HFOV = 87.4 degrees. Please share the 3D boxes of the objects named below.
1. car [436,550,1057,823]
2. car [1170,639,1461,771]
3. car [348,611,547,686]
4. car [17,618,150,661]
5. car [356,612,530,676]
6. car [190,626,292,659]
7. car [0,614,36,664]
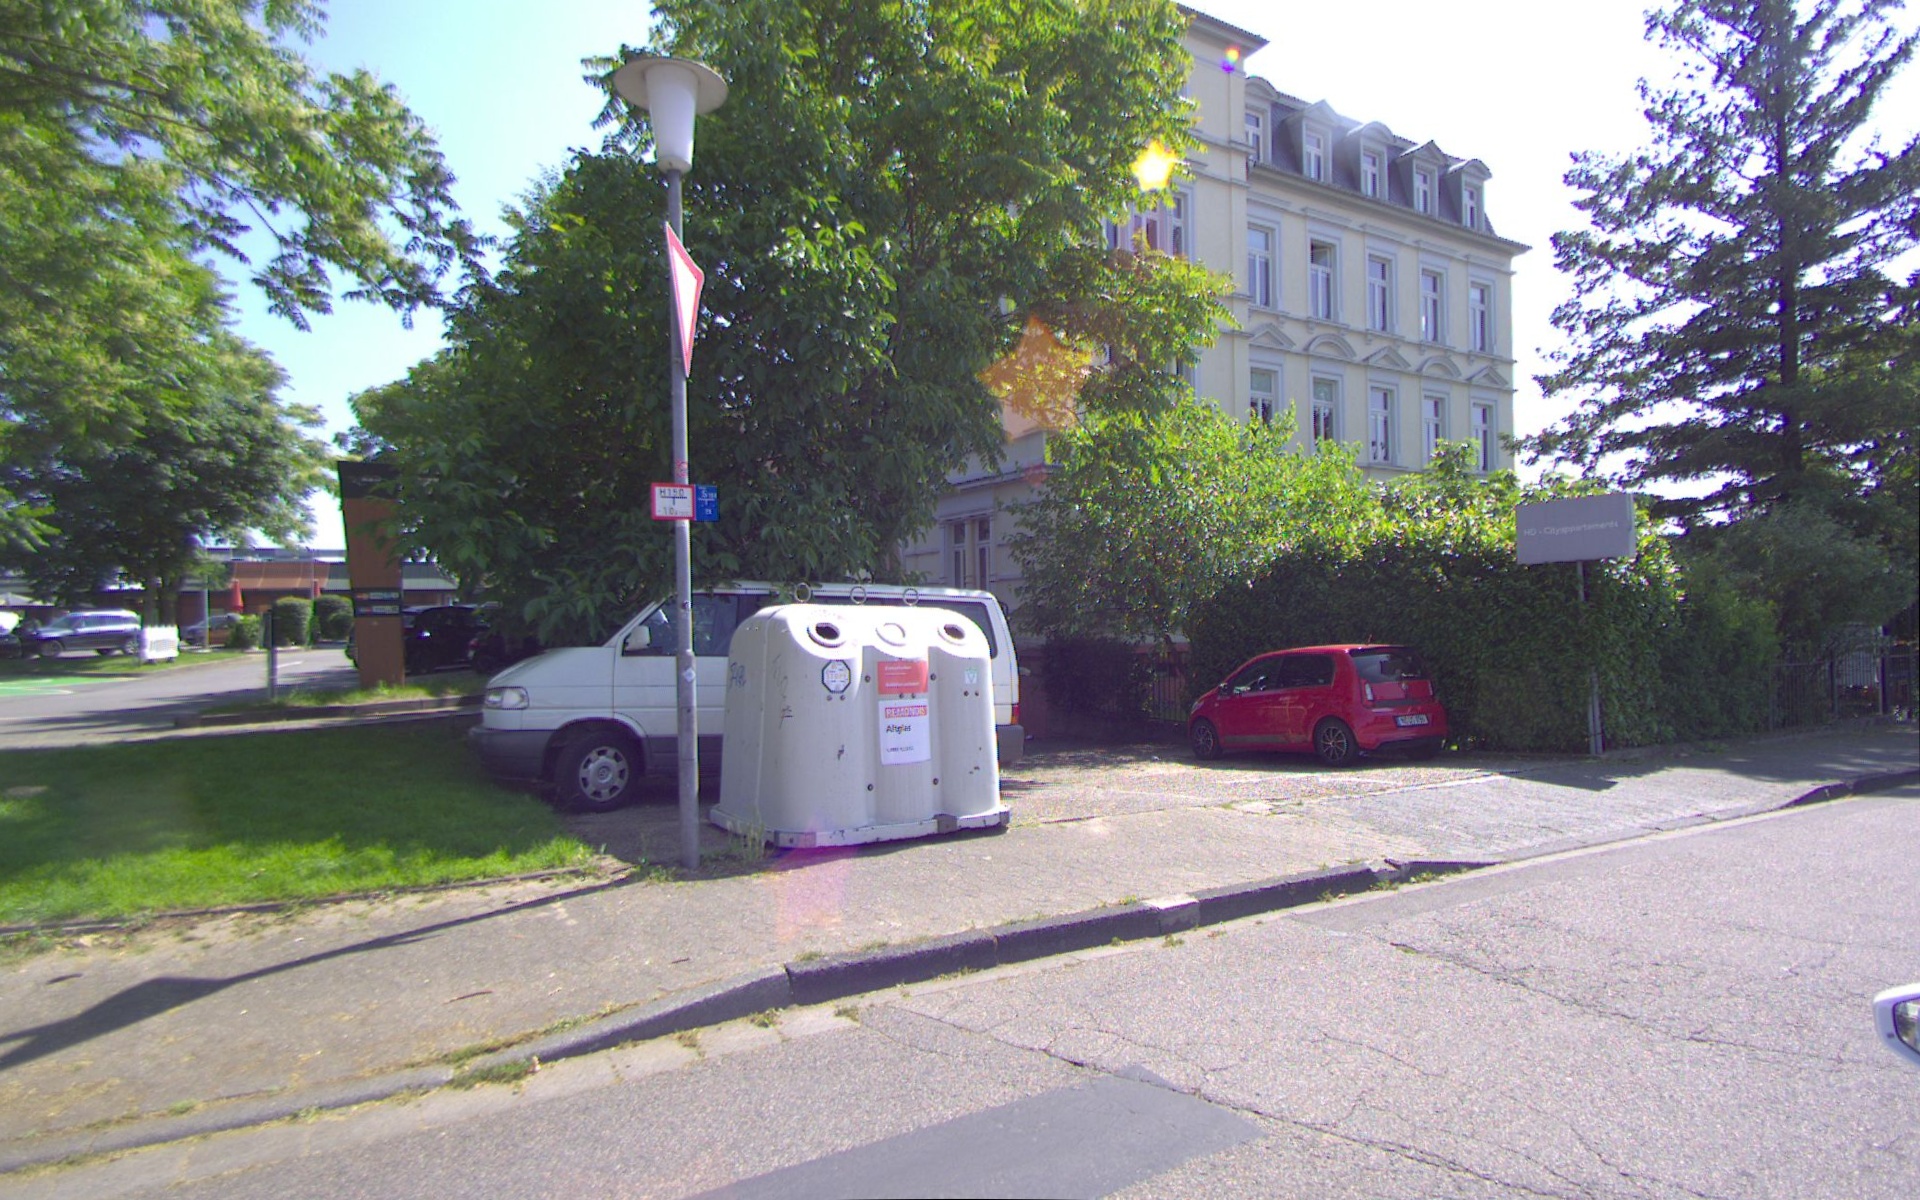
[{"bbox_3d":[-1.800,0.775,9.147,5.028,1.956,1.990,2,-4,-23],"label":"car"},{"bbox_3d":[4.534,1.371,13.304,1.629,1.484,3.402,1,-6,-27],"label":"car"},{"bbox_3d":[-10.051,0.933,19.970,1.629,1.350,3.400,-1,-2,17],"label":"car"},{"bbox_3d":[-34.130,1.519,39.208,1.666,1.577,3.519,-1,-2,24],"label":"car"},{"bbox_3d":[-11.731,0.986,23.035,1.629,1.350,3.400,-1,-2,17],"label":"car"},{"bbox_3d":[-37.140,2.170,51.915,1.972,1.661,3.978,-2,-2,43],"label":"car"},{"bbox_3d":[-27.336,1.058,27.203,3.374,1.350,1.677,2,-2,-43],"label":"car"}]
